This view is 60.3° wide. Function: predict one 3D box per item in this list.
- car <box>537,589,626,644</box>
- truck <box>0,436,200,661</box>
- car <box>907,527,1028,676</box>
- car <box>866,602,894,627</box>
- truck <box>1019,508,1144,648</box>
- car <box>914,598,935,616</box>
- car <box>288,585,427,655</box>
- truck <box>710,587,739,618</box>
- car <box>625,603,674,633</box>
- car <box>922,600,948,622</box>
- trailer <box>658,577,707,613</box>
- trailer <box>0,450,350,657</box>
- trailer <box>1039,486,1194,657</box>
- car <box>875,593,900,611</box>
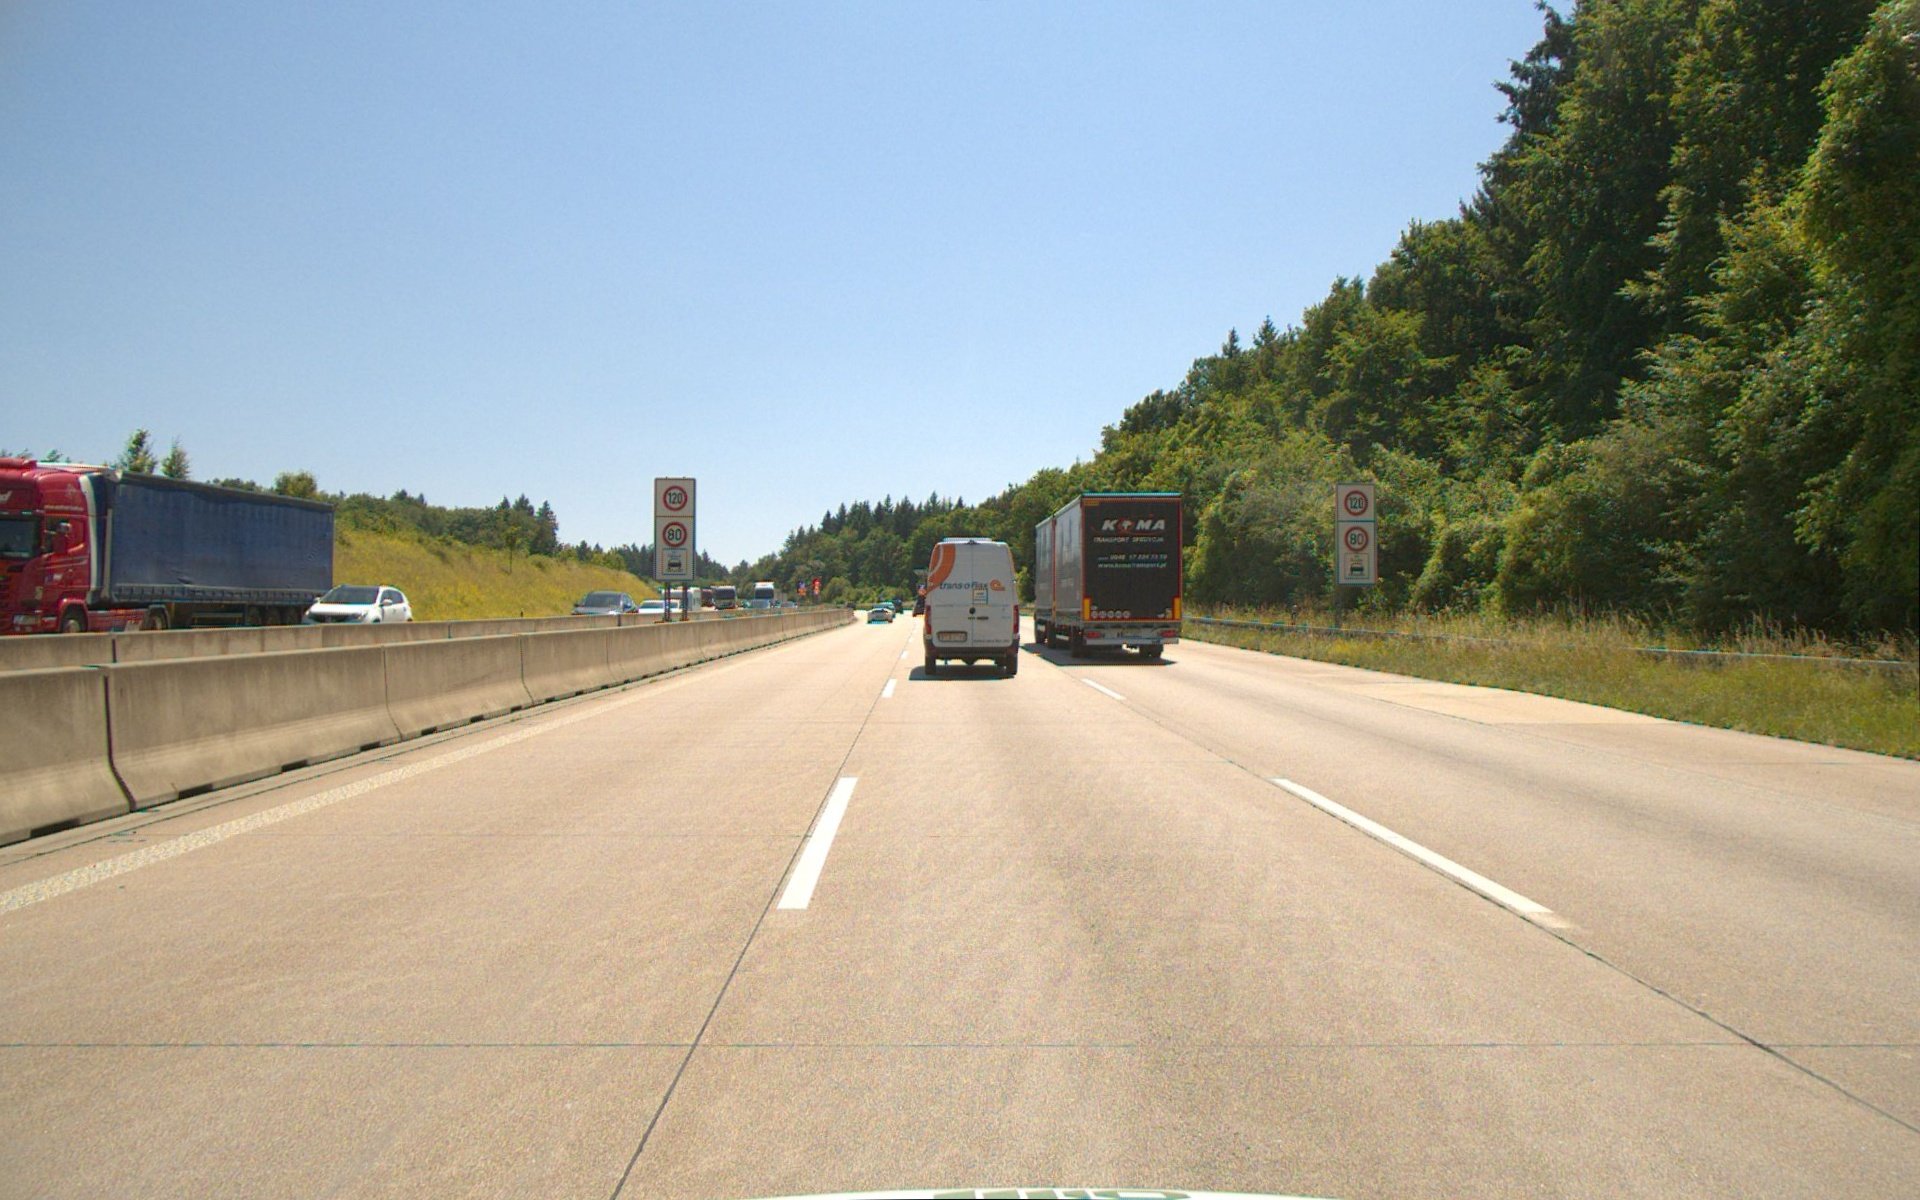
[{"bbox_3d":[-12.414,0.532,54.517,1.953,1.722,4.370,1,0,-1],"label":"car"},{"bbox_3d":[-20.073,-1.024,36.642,3.318,4.509,6.799,1,-1,-1],"label":"truck"},{"bbox_3d":[0.065,0.014,35.176,2.182,2.894,5.450,-1,0,-4],"label":"car"},{"bbox_3d":[-5.762,1.075,119.390,1.954,1.713,3.998,1,-1,-3],"label":"car"},{"bbox_3d":[3.804,-0.639,54.332,3.095,4.087,10.605,-1,0,-1],"label":"truck"},{"bbox_3d":[-3.482,0.747,163.416,1.953,1.713,4.000,1,-1,0],"label":"car"},{"bbox_3d":[-15.715,0.497,43.432,1.953,1.722,4.815,1,0,-1],"label":"car"},{"bbox_3d":[-26.996,0.318,189.610,2.670,3.473,4.511,1,-1,-2],"label":"truck"},{"bbox_3d":[-17.319,0.999,92.539,1.953,1.586,4.497,1,0,-1],"label":"car"},{"bbox_3d":[-2.015,0.869,132.008,1.952,1.713,4.000,1,-1,0],"label":"car"},{"bbox_3d":[-21.550,-0.389,128.795,2.553,2.677,7.779,0,0,-1],"label":"trailer"},{"bbox_3d":[-20.196,-0.945,43.448,3.318,4.509,13.920,1,-1,-1],"label":"trailer"},{"bbox_3d":[3.996,-0.685,44.497,3.071,4.087,9.085,-1,0,-1],"label":"trailer"},{"bbox_3d":[-6.900,0.199,157.064,1.957,1.713,3.991,1,-1,-9],"label":"car"}]
